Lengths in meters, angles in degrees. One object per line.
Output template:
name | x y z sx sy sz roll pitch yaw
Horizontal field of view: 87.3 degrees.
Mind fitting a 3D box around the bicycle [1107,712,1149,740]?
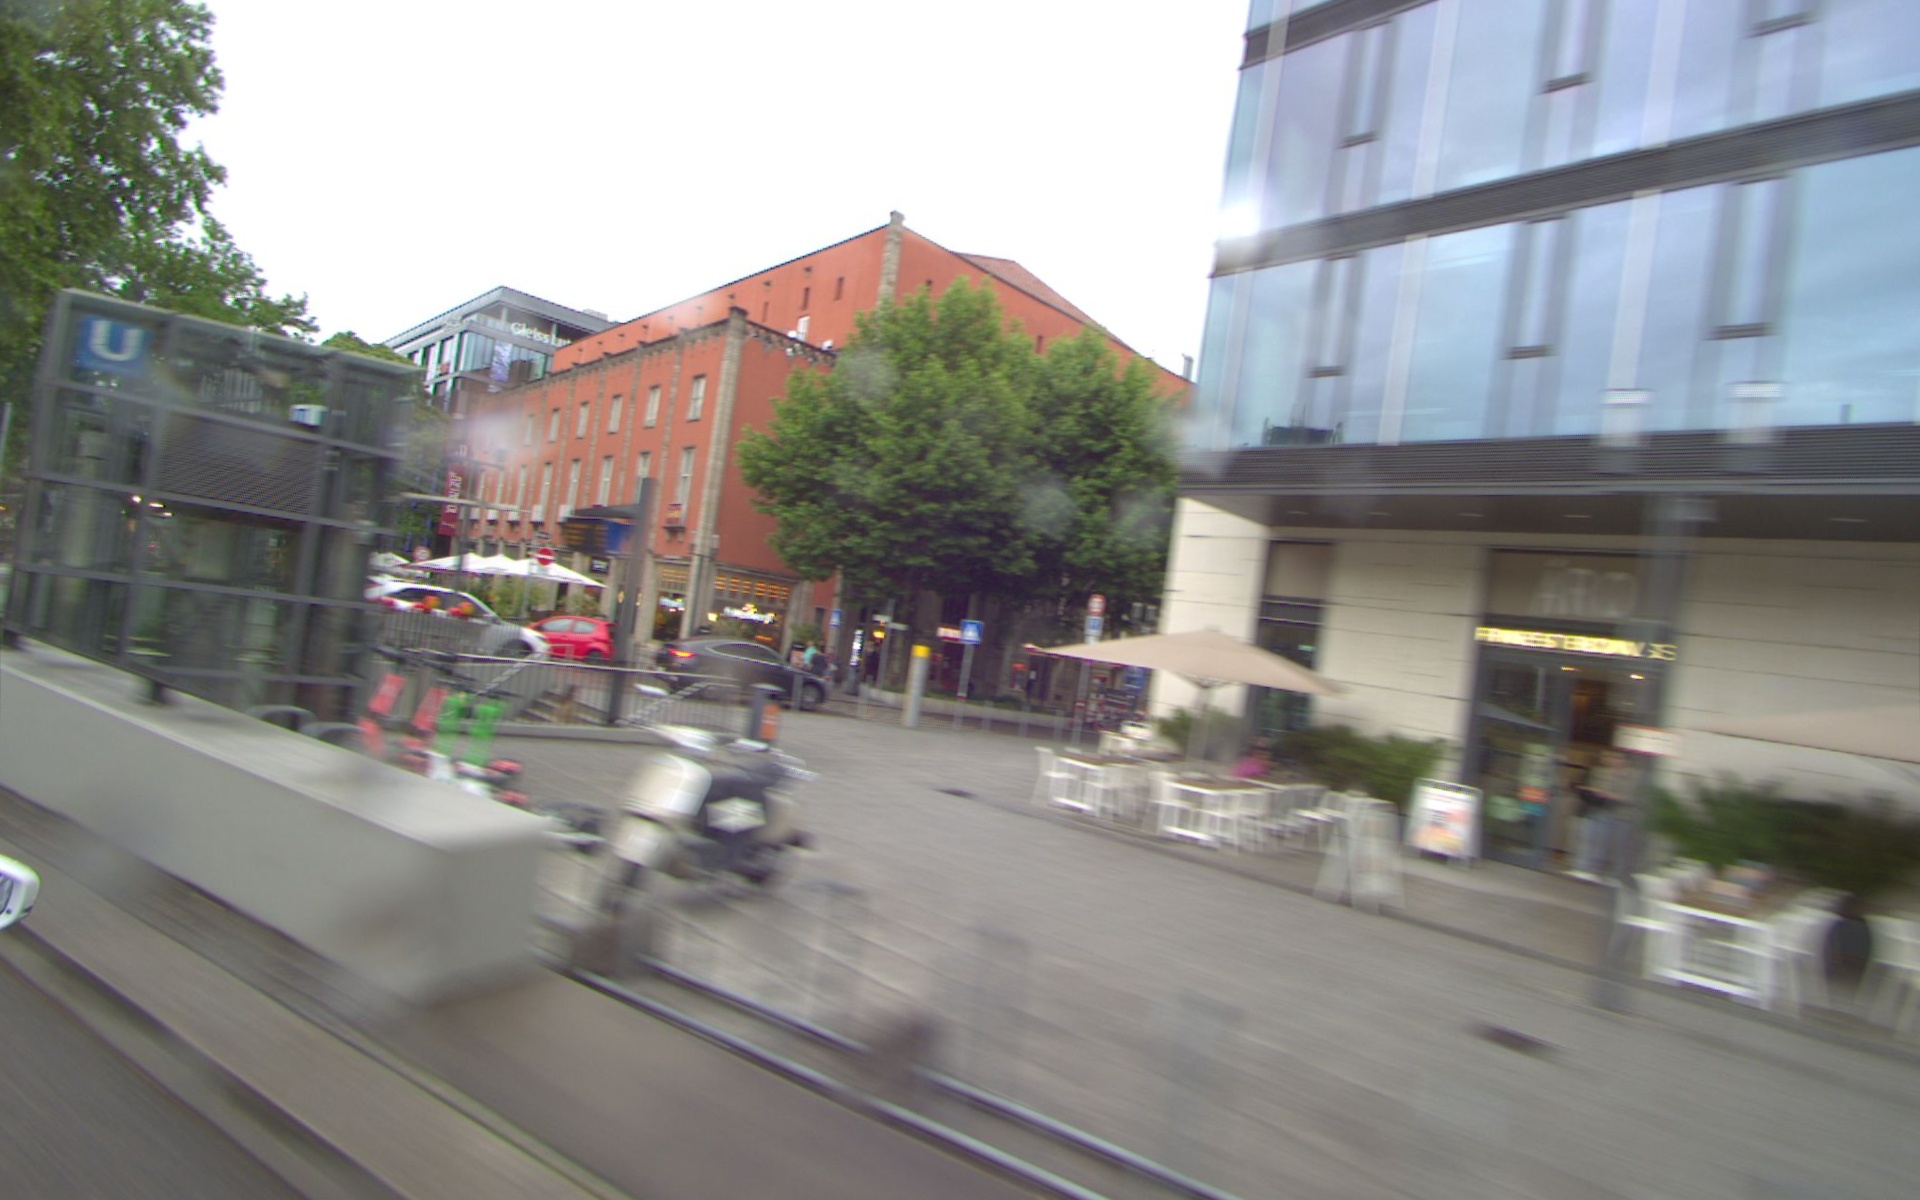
bicycle | 7.538 5.662 45.201 1.734 0.995 0.520 5 -4 45

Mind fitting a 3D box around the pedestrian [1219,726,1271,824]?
pedestrian | 4.420 2.710 15.606 0.433 1.419 0.472 8 -2 -43

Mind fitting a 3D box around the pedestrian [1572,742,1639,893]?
pedestrian | 8.872 2.956 13.821 0.577 1.915 0.640 6 -2 37

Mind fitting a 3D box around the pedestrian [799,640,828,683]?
pedestrian | -5.974 2.520 40.943 0.601 1.614 0.752 6 -4 40

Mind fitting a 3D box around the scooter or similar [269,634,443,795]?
scooter or similar | -5.261 1.010 8.826 0.359 1.283 1.116 7 -3 30

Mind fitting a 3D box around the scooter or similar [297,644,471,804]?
scooter or similar | -4.911 1.065 8.646 0.359 1.248 1.116 7 -3 30

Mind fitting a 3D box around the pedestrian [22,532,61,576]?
pedestrian | -32.944 -1.650 36.071 0.618 1.426 0.611 7 -4 17

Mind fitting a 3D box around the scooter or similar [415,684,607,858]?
scooter or similar | -3.434 1.295 7.776 0.523 1.171 1.116 7 -3 30

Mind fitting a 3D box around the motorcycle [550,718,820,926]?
motorcycle | -1.834 1.477 7.030 0.597 1.170 1.782 7 -3 30

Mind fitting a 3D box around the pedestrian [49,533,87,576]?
pedestrian | -32.651 -1.669 36.815 0.618 1.426 0.611 7 -4 17

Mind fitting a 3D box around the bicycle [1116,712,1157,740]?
bicycle | 8.147 5.800 46.444 1.734 0.995 0.520 5 -4 45

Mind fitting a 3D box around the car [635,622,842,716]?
car | -5.647 1.827 26.071 4.725 1.709 1.981 12 -4 -42

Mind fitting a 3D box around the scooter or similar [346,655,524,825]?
scooter or similar | -4.247 1.137 8.212 0.359 1.250 1.116 7 -3 30

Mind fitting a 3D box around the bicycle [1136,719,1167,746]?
bicycle | 8.837 6.127 46.529 1.268 0.995 0.457 5 -4 45

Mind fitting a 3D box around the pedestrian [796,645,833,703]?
pedestrian | -4.907 2.506 33.949 0.795 1.828 0.610 6 -3 33

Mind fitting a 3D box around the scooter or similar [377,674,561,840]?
scooter or similar | -3.870 1.235 8.002 0.436 1.171 1.116 7 -3 30

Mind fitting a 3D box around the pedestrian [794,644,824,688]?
pedestrian | -5.945 2.597 39.657 0.601 1.576 0.752 6 -4 40

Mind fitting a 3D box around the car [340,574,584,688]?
car | -10.456 0.703 21.337 1.839 1.636 4.098 4 -8 43

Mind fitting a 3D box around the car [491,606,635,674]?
car | -11.834 1.221 30.117 3.463 1.430 1.618 9 -4 4

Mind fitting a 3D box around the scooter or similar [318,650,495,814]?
scooter or similar | -4.576 1.097 8.383 0.359 1.229 1.116 7 -3 30

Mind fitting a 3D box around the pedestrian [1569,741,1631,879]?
pedestrian | 9.543 3.099 14.996 0.577 1.915 0.640 6 -2 37

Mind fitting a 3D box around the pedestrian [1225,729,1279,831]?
pedestrian | 4.355 2.673 15.011 0.433 1.419 0.472 8 -2 -43

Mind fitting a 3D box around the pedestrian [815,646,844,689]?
pedestrian | -5.279 2.729 40.639 0.601 1.614 0.752 6 -4 40

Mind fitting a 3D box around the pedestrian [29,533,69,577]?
pedestrian | -32.199 -1.582 35.562 0.618 1.426 0.611 7 -4 17

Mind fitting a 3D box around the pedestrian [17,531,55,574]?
pedestrian | -33.657 -1.717 36.652 0.618 1.426 0.611 7 -4 17
